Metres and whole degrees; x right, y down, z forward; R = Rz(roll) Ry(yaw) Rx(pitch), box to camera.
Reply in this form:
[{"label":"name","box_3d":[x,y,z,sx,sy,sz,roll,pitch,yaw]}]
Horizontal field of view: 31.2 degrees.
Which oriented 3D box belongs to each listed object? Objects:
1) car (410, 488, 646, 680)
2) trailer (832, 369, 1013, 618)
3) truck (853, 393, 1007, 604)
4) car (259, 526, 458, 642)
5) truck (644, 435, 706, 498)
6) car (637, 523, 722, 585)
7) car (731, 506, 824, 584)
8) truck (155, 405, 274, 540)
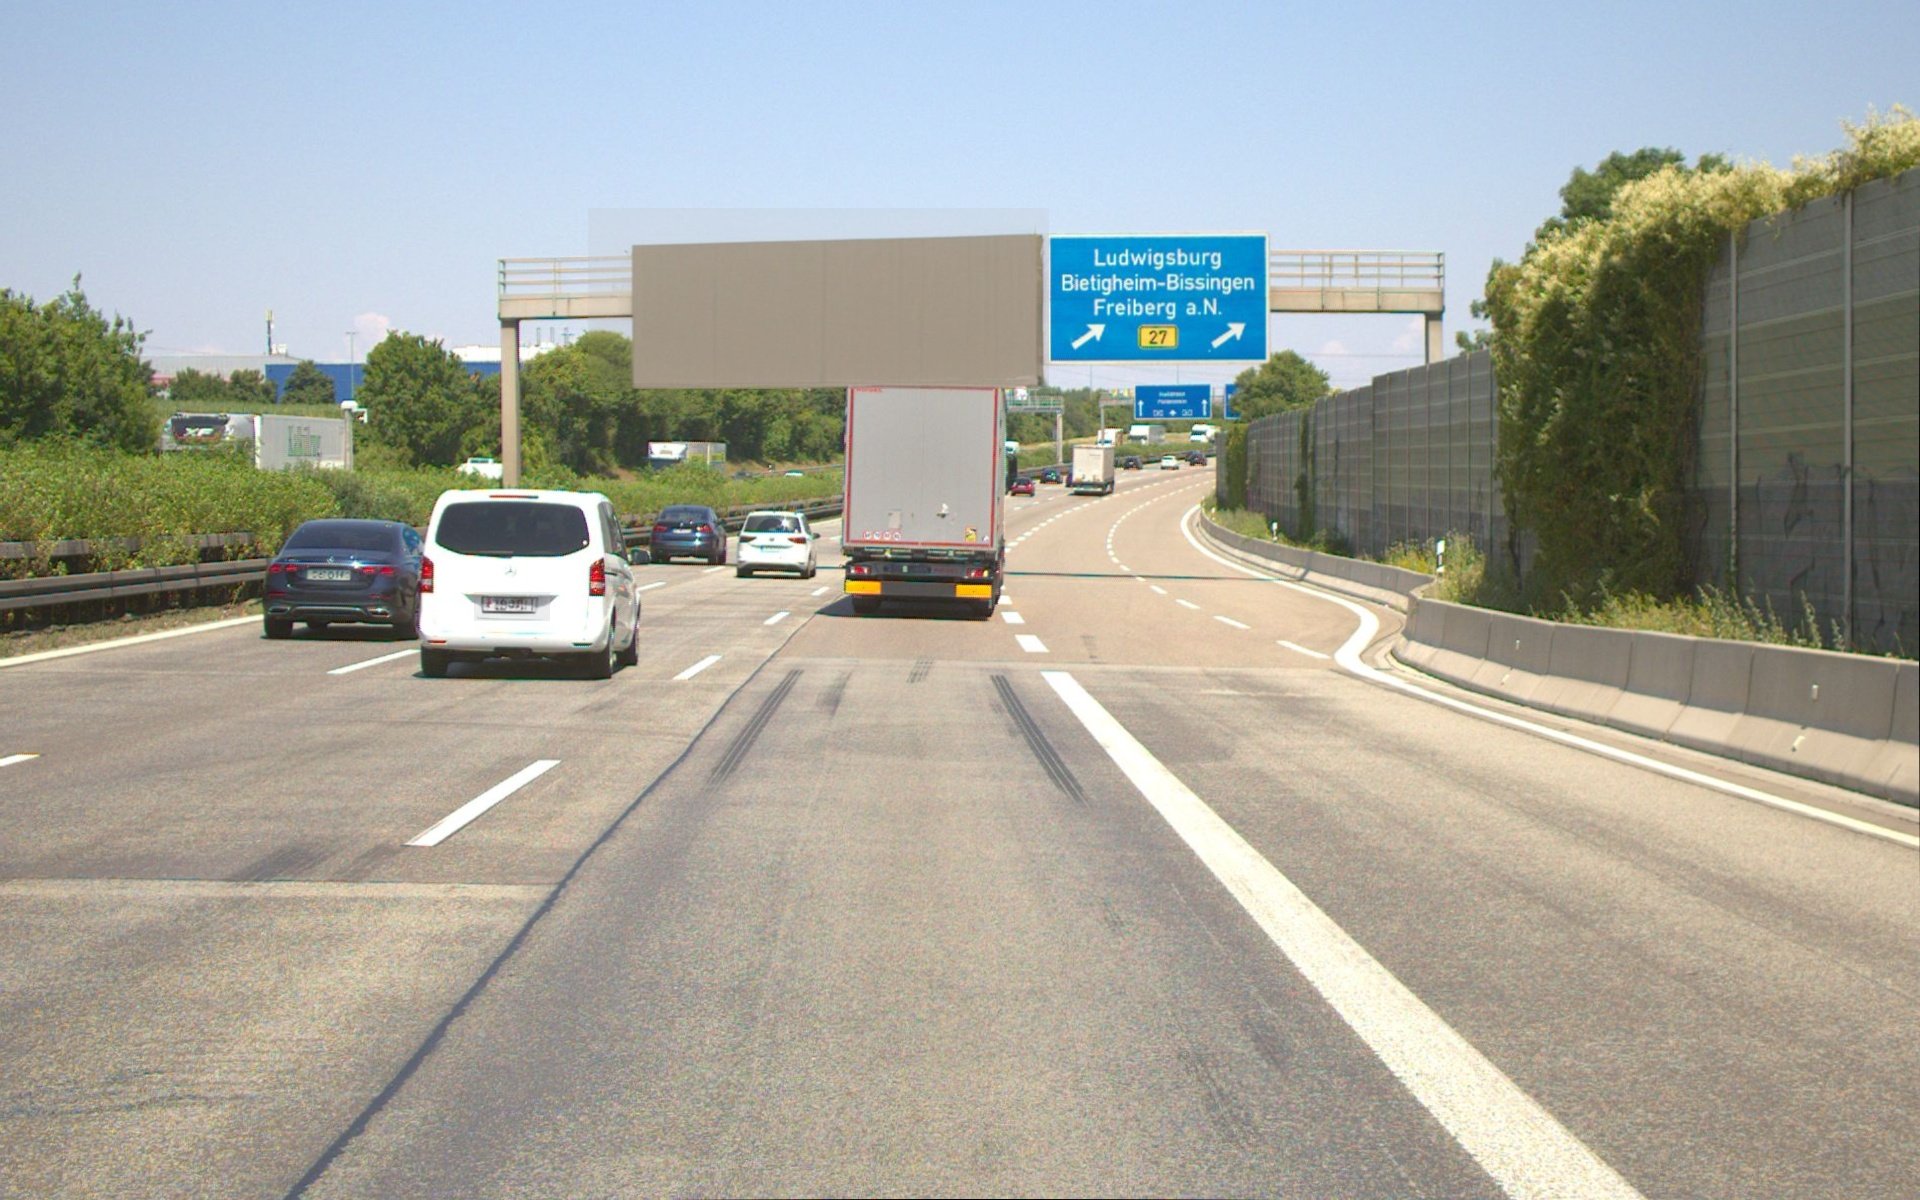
[{"label":"car","box_3d":[-4.368,-0.204,35.391,1.930,1.845,4.693,0,1,-1]},{"label":"trailer","box_3d":[-0.599,-1.844,61.451,2.928,4.001,12.039,0,1,0]},{"label":"truck","box_3d":[-0.571,-2.012,69.189,2.928,4.001,7.584,0,1,0]},{"label":"car","box_3d":[-7.600,-0.244,43.846,1.756,1.404,5.040,0,1,-1]},{"label":"truck","box_3d":[-18.452,-8.653,223.230,3.001,3.953,10.322,1,2,1]},{"label":"car","box_3d":[-7.811,-1.296,96.009,1.904,1.683,4.631,0,1,1]},{"label":"car","box_3d":[-4.460,-1.366,84.578,1.904,1.845,4.631,0,1,2]},{"label":"truck","box_3d":[-23.473,-4.018,108.379,2.605,4.141,4.748,1,2,2]}]
